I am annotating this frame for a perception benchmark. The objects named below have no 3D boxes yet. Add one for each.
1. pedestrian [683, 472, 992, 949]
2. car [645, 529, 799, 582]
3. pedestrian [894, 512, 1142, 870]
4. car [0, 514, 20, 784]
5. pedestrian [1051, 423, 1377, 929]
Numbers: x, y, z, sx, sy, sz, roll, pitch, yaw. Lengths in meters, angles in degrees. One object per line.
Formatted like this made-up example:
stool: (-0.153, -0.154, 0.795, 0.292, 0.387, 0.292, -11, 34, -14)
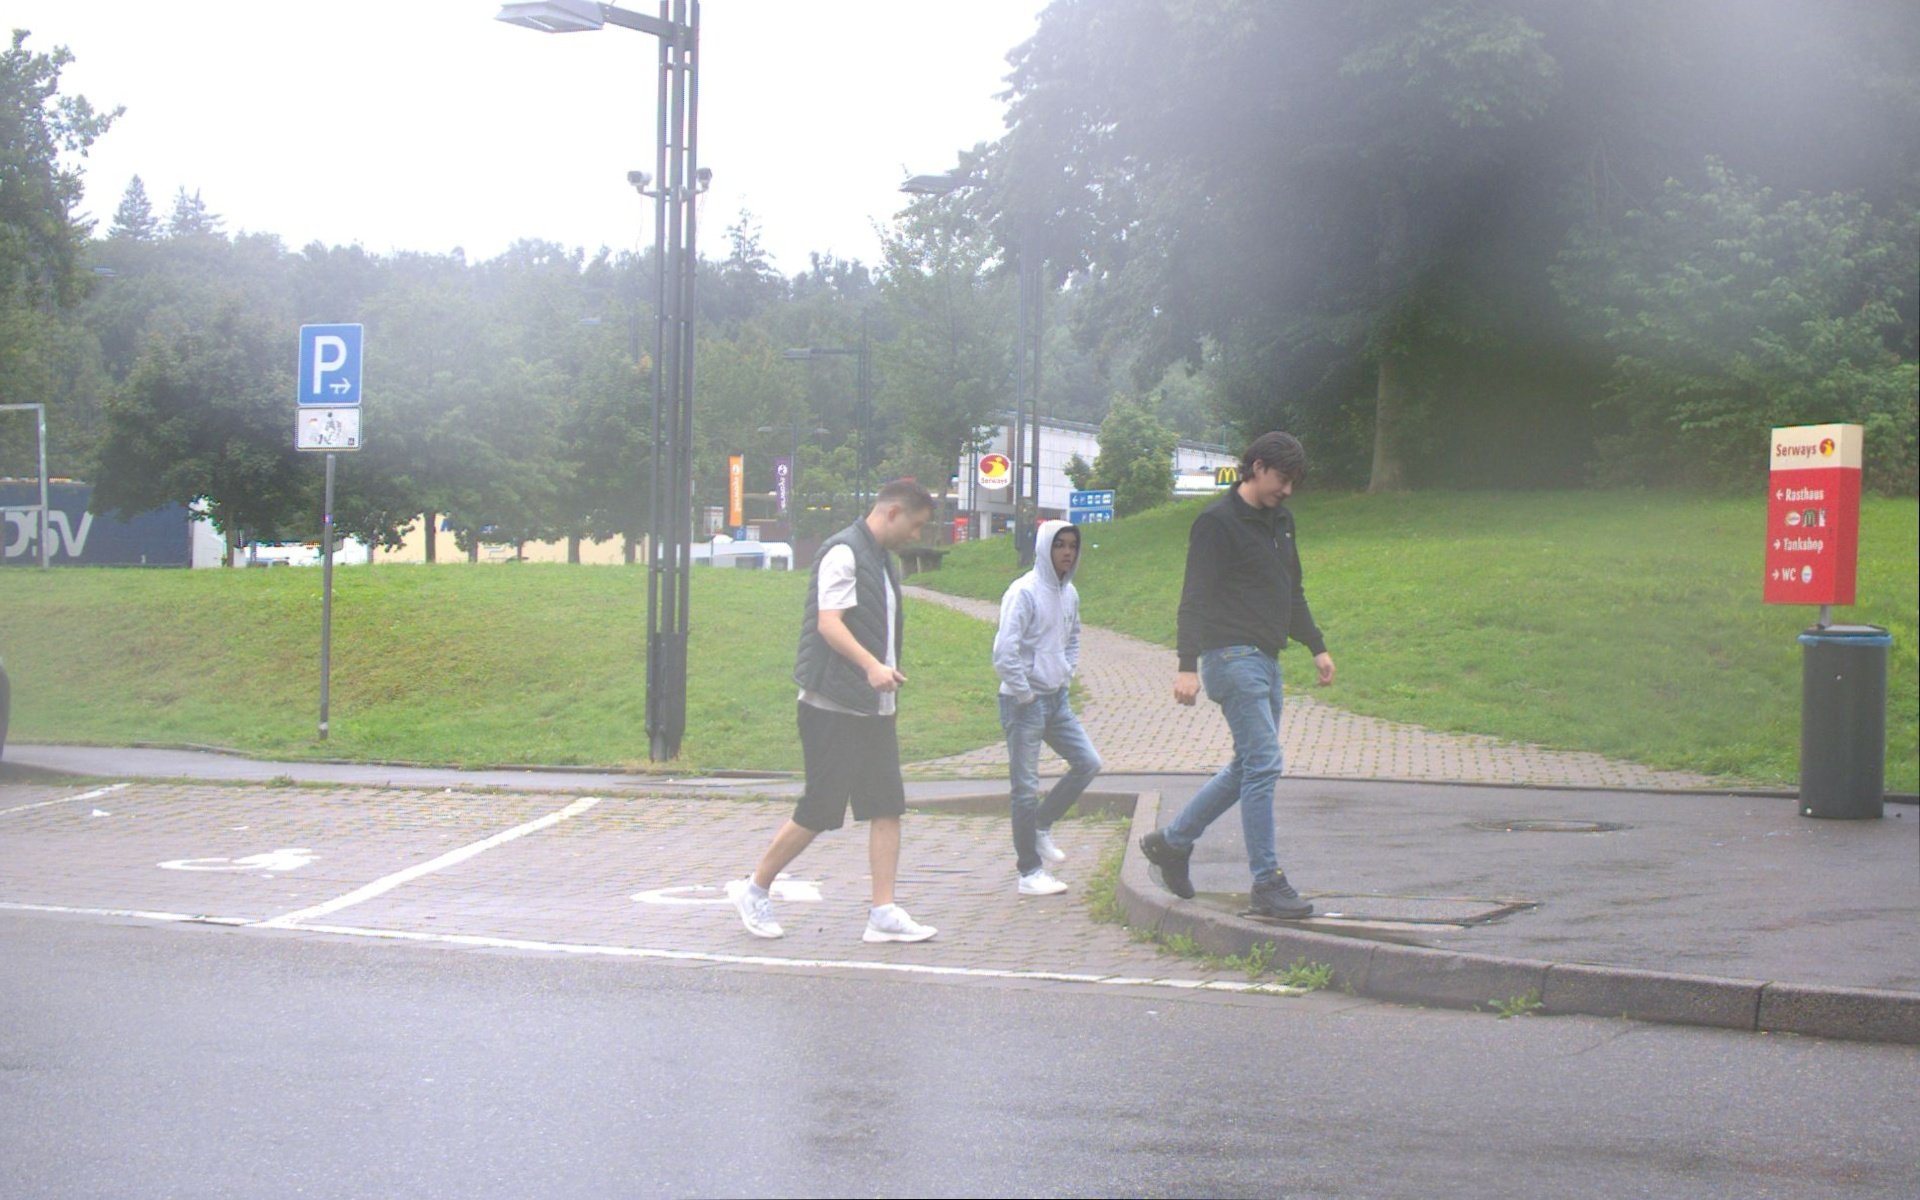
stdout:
pedestrian: (-0.489, 0.416, 13.845, 0.974, 1.842, 0.772, 0, 1, 28)
car: (-9.254, -1.748, 133.779, 5.429, 2.007, 2.453, 1, 1, 20)
pedestrian: (0.261, 0.385, 15.326, 0.890, 1.544, 0.659, 0, 1, 29)
car: (-7.766, 0.366, 21.451, 1.885, 1.821, 4.411, 0, 1, 11)
pedestrian: (0.983, 0.270, 13.203, 1.000, 1.858, 0.798, 0, 1, 28)
